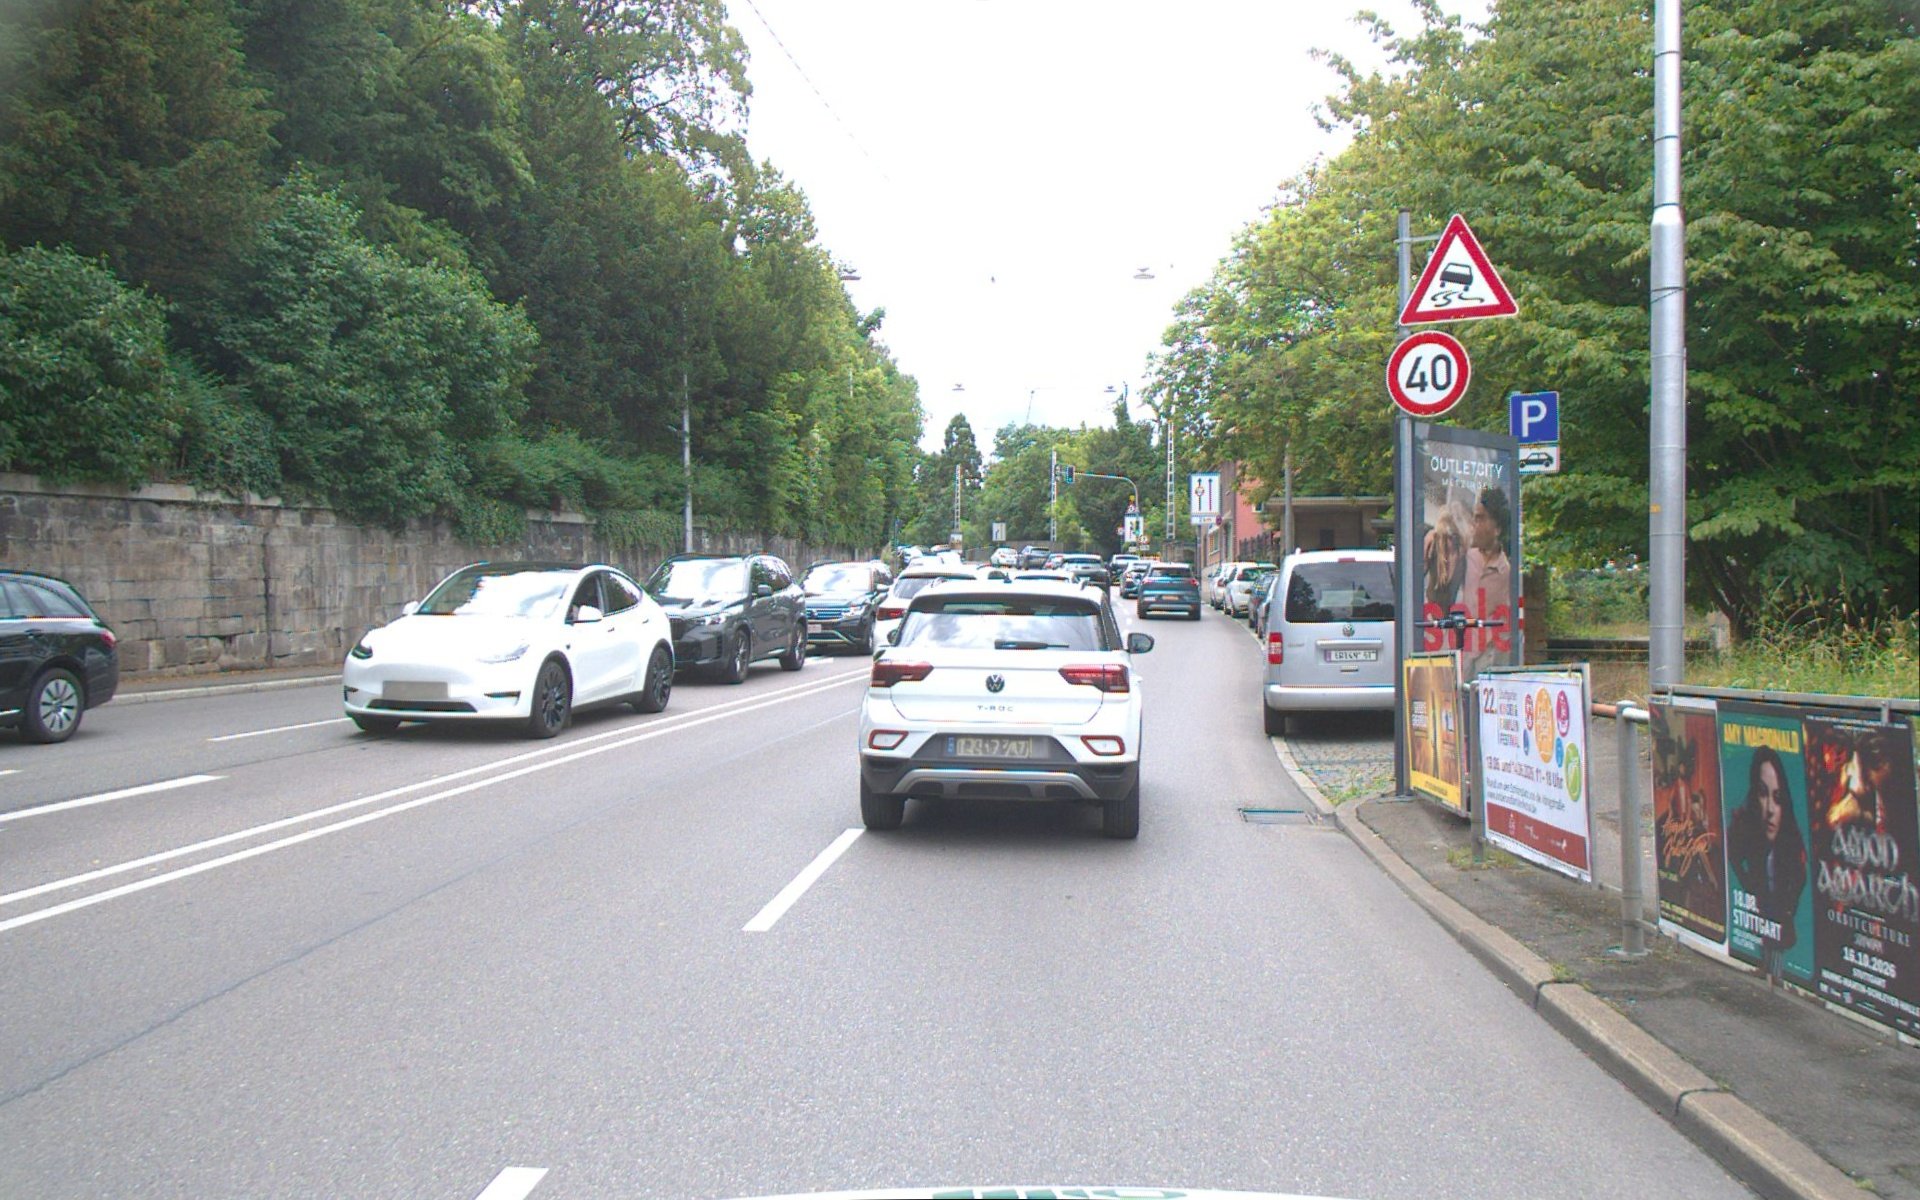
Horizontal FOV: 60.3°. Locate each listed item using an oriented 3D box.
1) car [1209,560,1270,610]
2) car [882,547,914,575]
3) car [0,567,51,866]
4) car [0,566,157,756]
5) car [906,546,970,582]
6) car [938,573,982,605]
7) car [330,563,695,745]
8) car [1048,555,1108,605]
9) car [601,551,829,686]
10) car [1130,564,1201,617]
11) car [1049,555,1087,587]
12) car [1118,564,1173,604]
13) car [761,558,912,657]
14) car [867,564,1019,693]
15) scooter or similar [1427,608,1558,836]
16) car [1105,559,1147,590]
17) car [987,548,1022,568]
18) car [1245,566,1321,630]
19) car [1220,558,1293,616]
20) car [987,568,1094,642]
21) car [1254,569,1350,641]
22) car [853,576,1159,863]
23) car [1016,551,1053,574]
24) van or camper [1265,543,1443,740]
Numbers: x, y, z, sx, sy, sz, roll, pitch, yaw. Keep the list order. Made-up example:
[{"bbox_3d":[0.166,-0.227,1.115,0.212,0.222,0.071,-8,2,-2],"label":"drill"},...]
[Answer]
[{"bbox_3d":[9.126,-0.524,54.239,1.640,1.486,4.369,-1,1,5],"label":"car"},{"bbox_3d":[-4.404,-2.746,116.874,1.955,1.785,3.994,1,-1,-7],"label":"car"},{"bbox_3d":[-5.979,0.630,6.322,1.951,1.495,4.882,-1,1,5],"label":"car"},{"bbox_3d":[-8.534,0.483,13.095,1.696,1.477,4.054,2,1,14],"label":"car"},{"bbox_3d":[-0.877,-1.496,69.415,1.959,1.433,4.760,-1,1,8],"label":"car"},{"bbox_3d":[0.018,-0.557,82.405,1.803,1.461,4.003,0,2,6],"label":"car"},{"bbox_3d":[-4.342,0.422,16.951,1.798,1.581,4.793,1,1,9],"label":"car"},{"bbox_3d":[4.083,-0.722,56.957,1.951,1.583,4.154,2,2,5],"label":"car"},{"bbox_3d":[-3.462,0.207,24.420,1.918,1.780,4.883,-1,1,9],"label":"car"},{"bbox_3d":[5.929,-0.294,48.002,1.951,1.439,4.154,0,1,6],"label":"car"},{"bbox_3d":[5.267,-1.433,80.860,1.743,1.480,4.002,1,1,3],"label":"car"},{"bbox_3d":[7.087,-0.628,63.454,1.951,1.475,4.153,1,1,5],"label":"car"},{"bbox_3d":[-2.233,0.092,31.125,1.808,1.680,4.628,-1,1,9],"label":"car"},{"bbox_3d":[-0.155,0.338,23.670,1.720,1.637,3.798,2,1,6],"label":"car"},{"bbox_3d":[3.359,0.727,10.534,0.505,1.311,1.488,-2,0,8],"label":"scooter or similar"},{"bbox_3d":[8.094,-1.240,80.918,1.951,1.475,4.153,1,1,5],"label":"car"},{"bbox_3d":[3.418,-3.238,127.446,1.957,1.475,4.141,0,1,-10],"label":"car"},{"bbox_3d":[7.985,-0.083,41.091,1.528,1.446,3.427,-3,1,6],"label":"car"},{"bbox_3d":[8.687,-0.412,48.723,1.679,1.497,4.041,-3,2,5],"label":"car"},{"bbox_3d":[1.816,0.073,35.867,1.951,1.515,4.154,0,1,8],"label":"car"},{"bbox_3d":[7.297,0.061,35.635,1.732,1.423,4.555,-1,1,8],"label":"car"},{"bbox_3d":[0.394,0.659,11.436,1.721,1.582,3.798,2,1,4],"label":"car"},{"bbox_3d":[5.162,-2.601,115.184,1.955,1.602,4.146,0,1,-6],"label":"car"},{"bbox_3d":[4.189,0.367,17.981,1.662,1.877,4.246,0,1,11],"label":"van or camper"}]
